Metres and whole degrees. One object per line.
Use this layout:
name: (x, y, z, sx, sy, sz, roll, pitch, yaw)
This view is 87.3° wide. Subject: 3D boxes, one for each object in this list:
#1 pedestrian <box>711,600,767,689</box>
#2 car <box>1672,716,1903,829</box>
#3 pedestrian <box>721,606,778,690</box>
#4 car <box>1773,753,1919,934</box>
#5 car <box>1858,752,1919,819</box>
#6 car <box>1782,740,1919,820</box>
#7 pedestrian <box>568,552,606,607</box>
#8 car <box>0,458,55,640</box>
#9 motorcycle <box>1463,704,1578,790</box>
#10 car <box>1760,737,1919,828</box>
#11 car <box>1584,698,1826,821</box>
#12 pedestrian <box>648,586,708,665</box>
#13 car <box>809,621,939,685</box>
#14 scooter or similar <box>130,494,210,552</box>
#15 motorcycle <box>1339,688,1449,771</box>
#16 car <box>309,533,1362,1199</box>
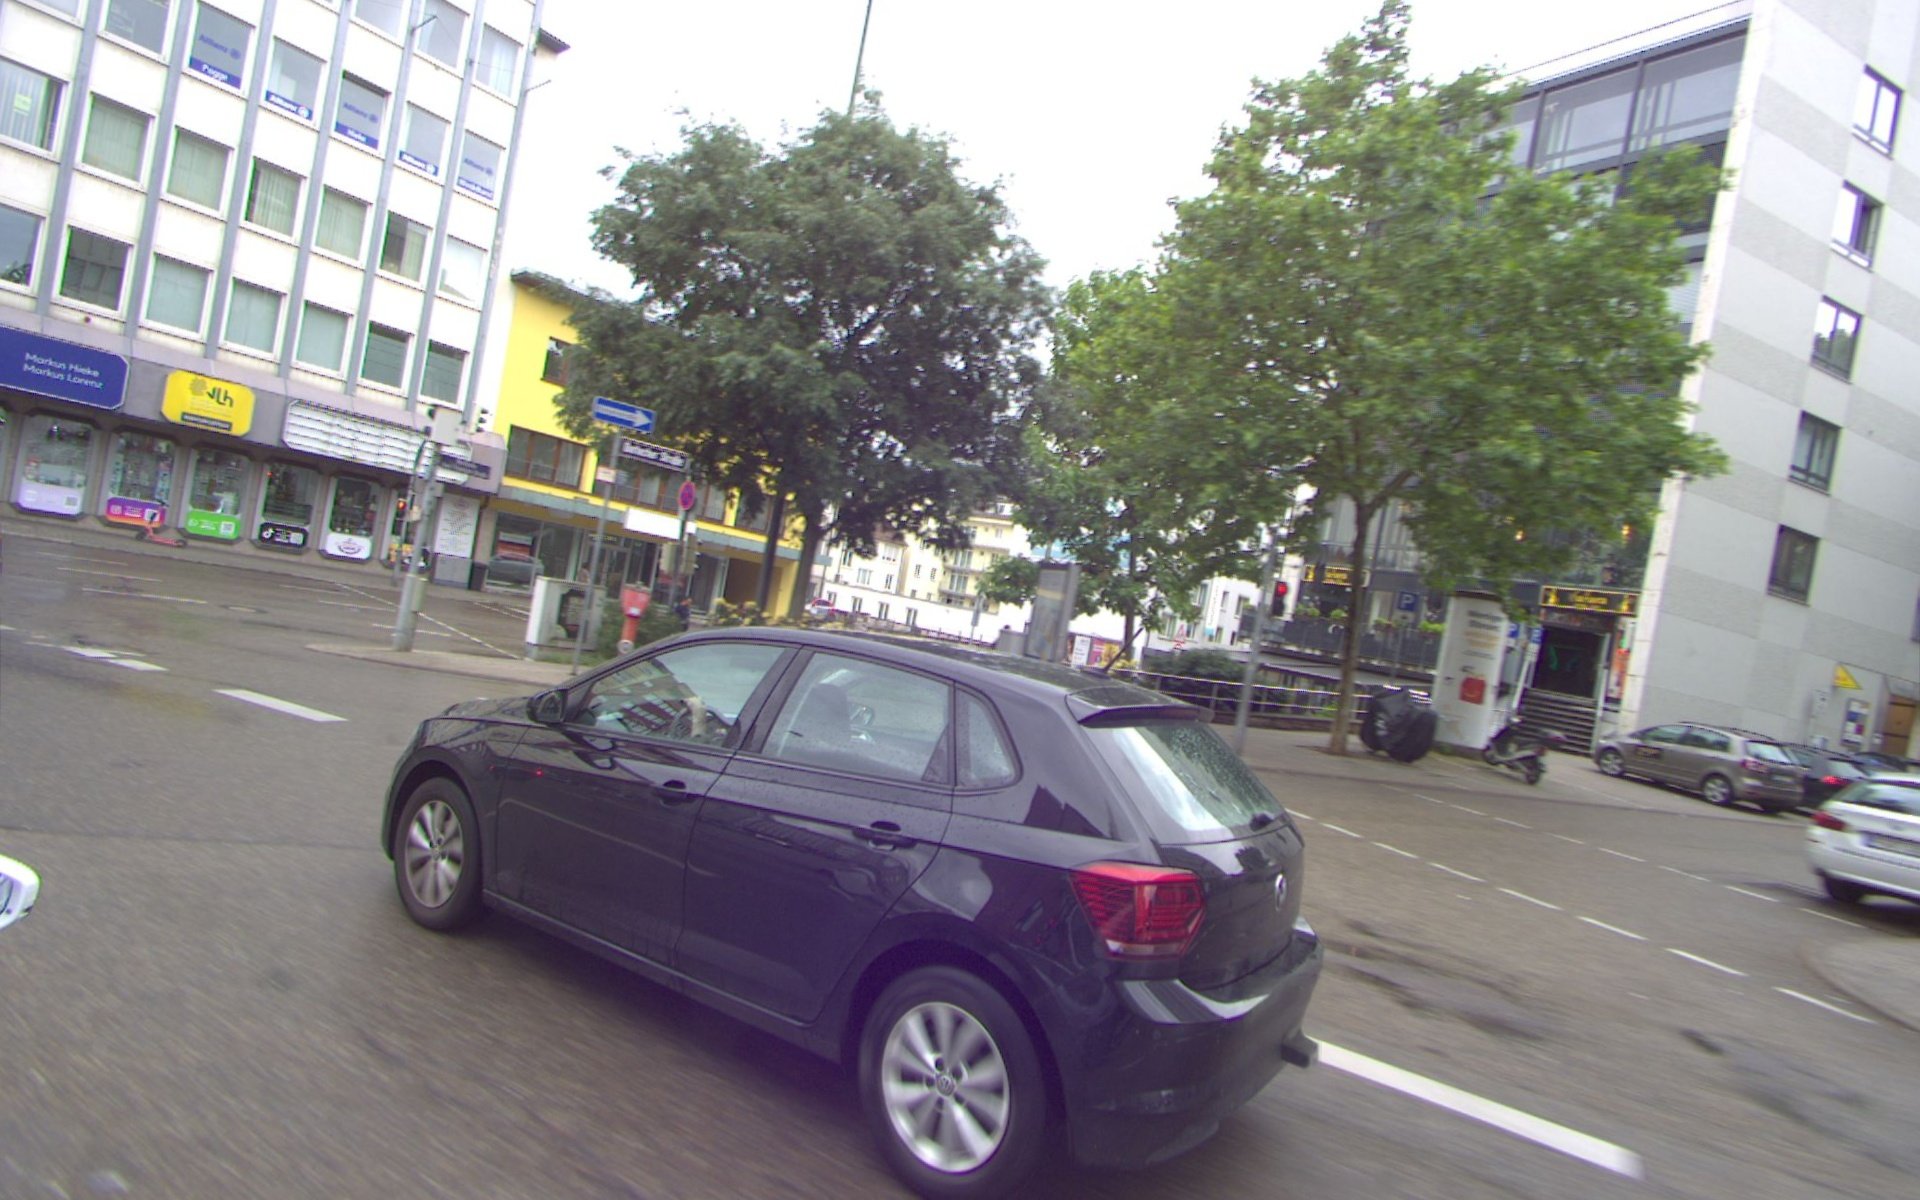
pedestrian: (-4.885, 0.980, 22.293, 0.668, 1.844, 0.715, 4, -6, 29)
car: (18.778, 3.868, 23.082, 1.600, 1.574, 3.832, 8, 2, -9)
pedestrian: (-4.535, 1.040, 21.679, 0.669, 1.693, 0.714, 3, -7, 38)
car: (11.200, 2.738, 10.653, 4.788, 1.511, 1.848, 9, -2, -22)
car: (26.699, 5.208, 27.077, 1.598, 1.571, 3.691, 8, -2, 0)
car: (24.516, 4.856, 27.319, 1.597, 1.571, 3.694, 7, -2, 9)
pedestrian: (-13.677, -0.738, 36.869, 0.666, 1.844, 0.894, 7, -5, 11)
car: (-11.412, -0.831, 9.866, 4.422, 1.716, 1.903, 9, 1, 22)
motorcycle: (10.530, 2.738, 19.002, 0.618, 1.131, 2.086, 8, 3, -7)
car: (21.580, 4.388, 24.331, 1.597, 1.571, 3.693, 8, -2, 5)
car: (16.230, 3.415, 22.185, 1.604, 1.656, 3.918, 9, 2, -16)
pedestrian: (-7.311, 0.672, 26.136, 0.875, 1.846, 0.827, 9, -3, 24)
car: (-2.889, 1.851, 34.494, 1.803, 1.429, 4.187, 13, 1, 42)
scooter or similar: (-21.893, -2.117, 27.891, 0.612, 1.224, 1.512, 14, 0, 43)
motorcycle: (8.132, 2.404, 18.943, 0.620, 1.131, 1.931, 9, 2, -18)
car: (-0.708, 0.750, 4.069, 3.935, 1.494, 1.691, 8, -1, 34)
